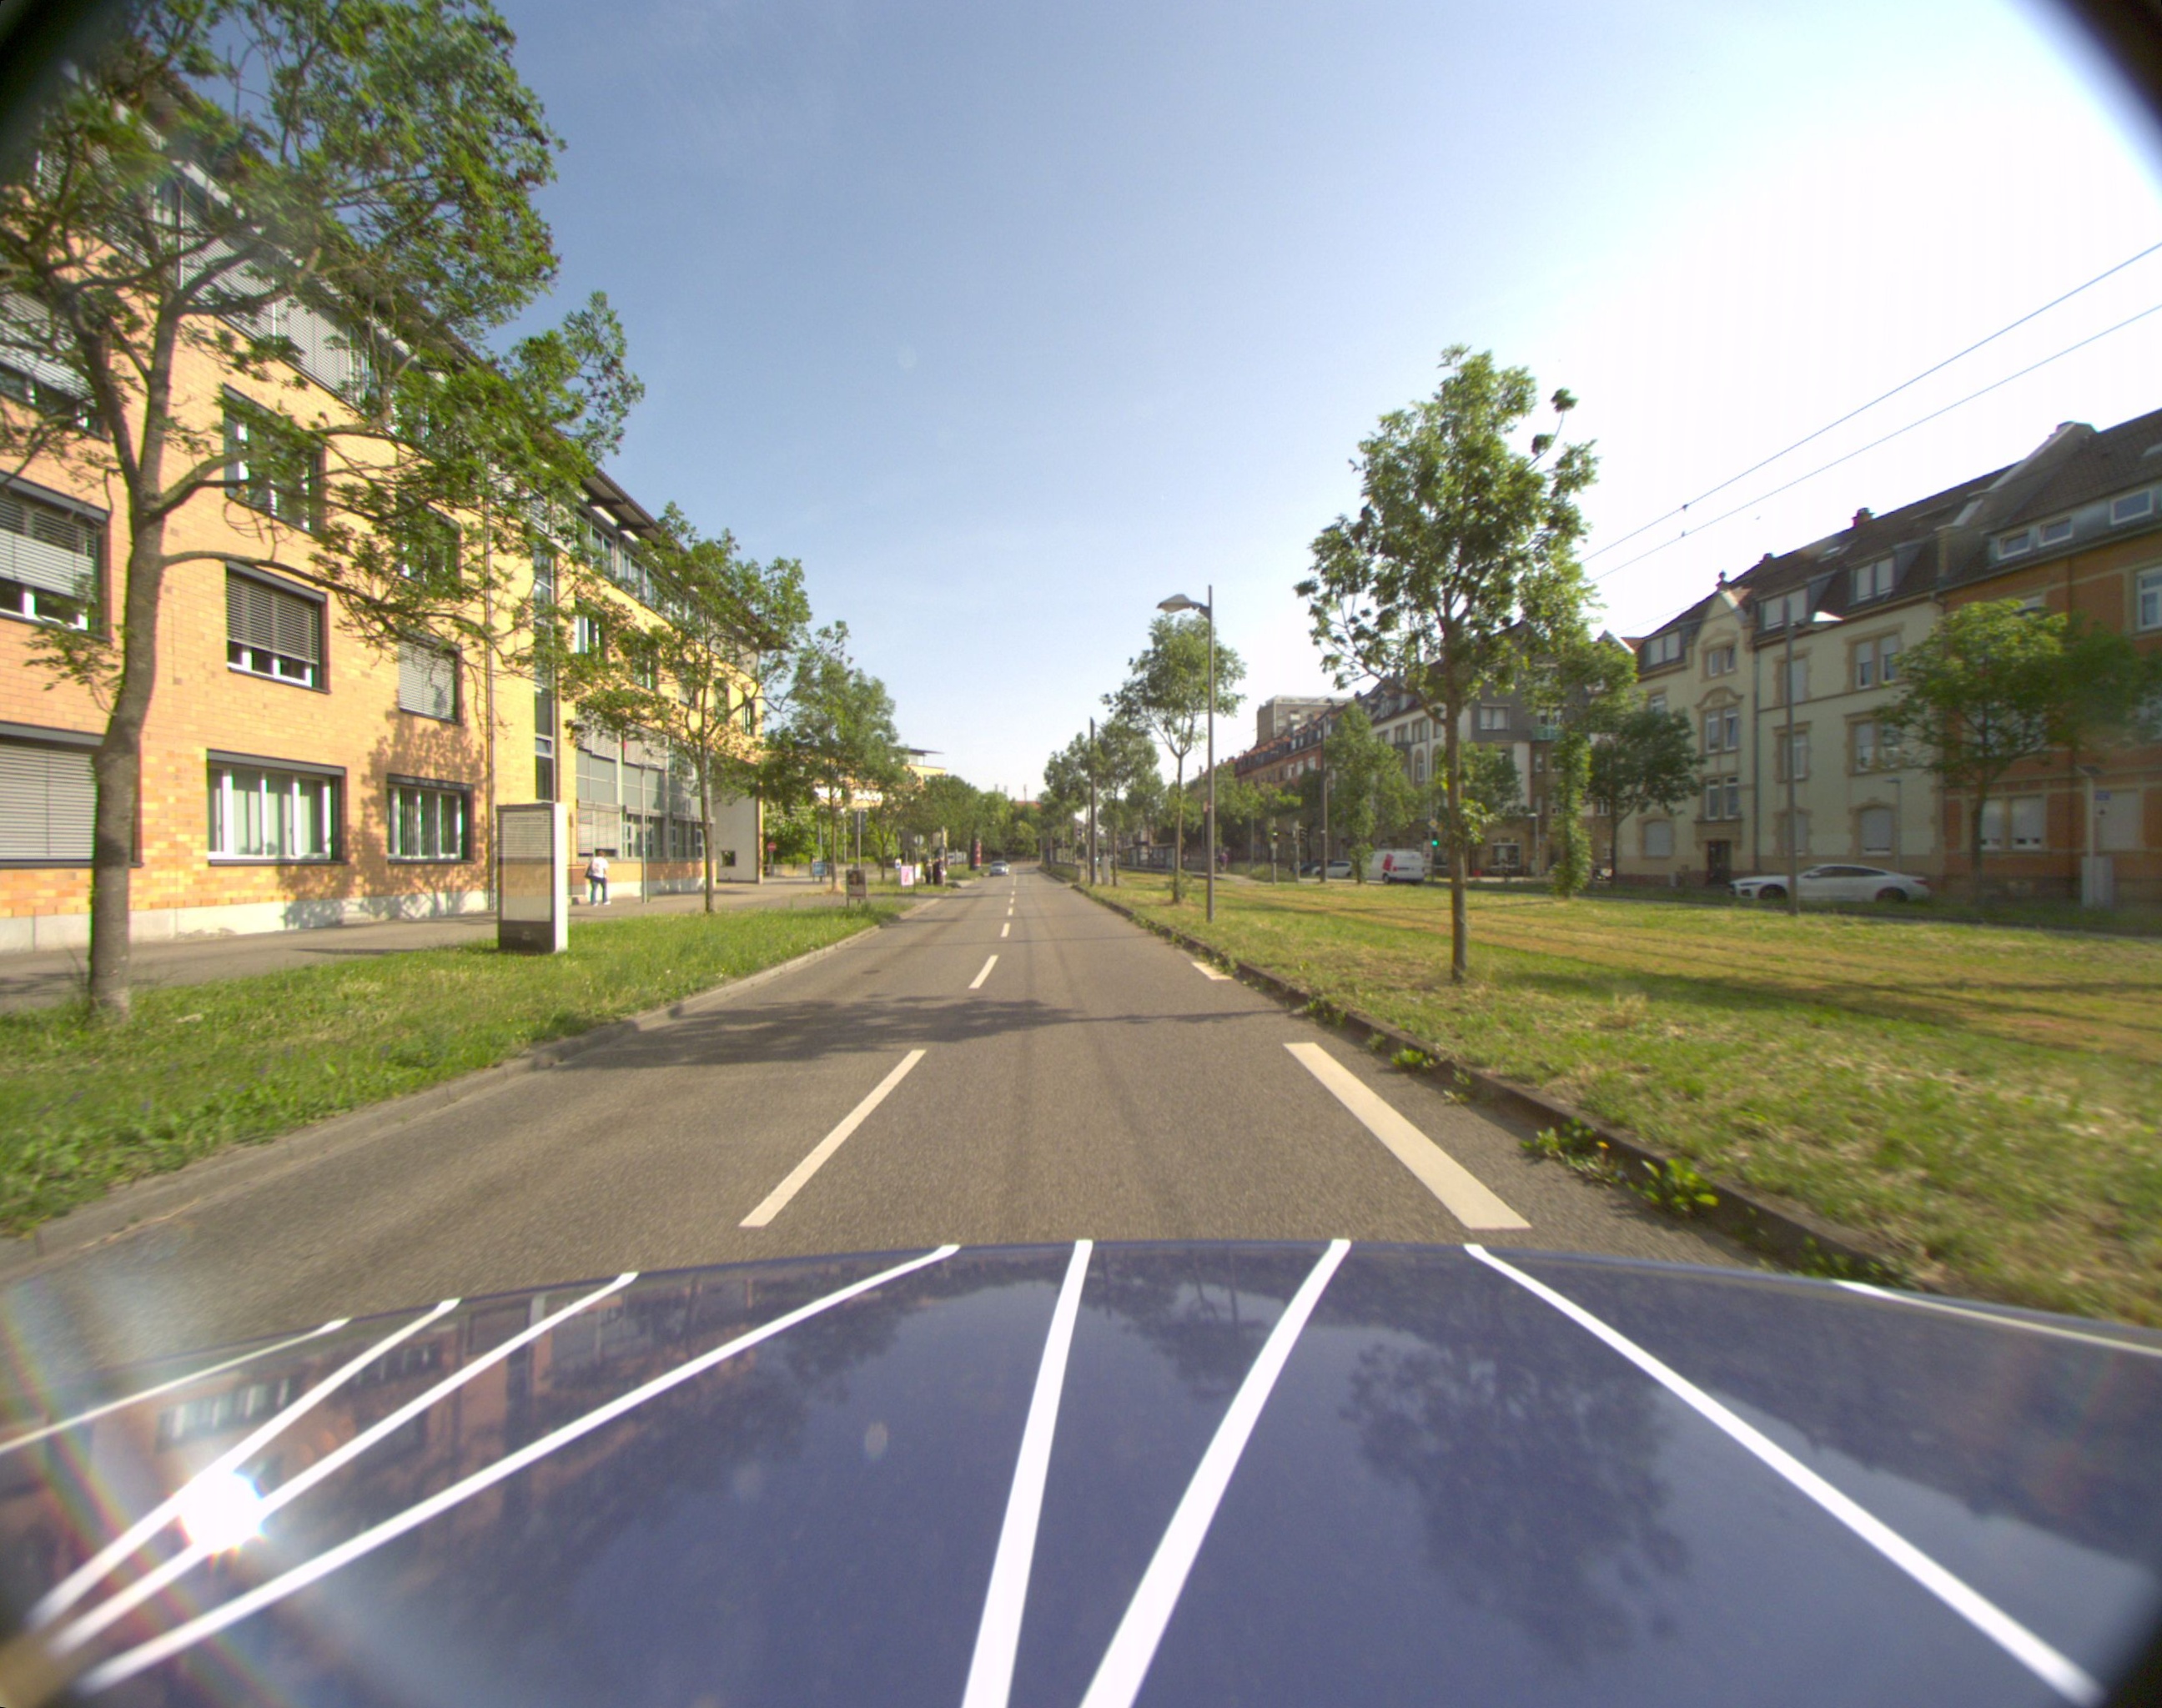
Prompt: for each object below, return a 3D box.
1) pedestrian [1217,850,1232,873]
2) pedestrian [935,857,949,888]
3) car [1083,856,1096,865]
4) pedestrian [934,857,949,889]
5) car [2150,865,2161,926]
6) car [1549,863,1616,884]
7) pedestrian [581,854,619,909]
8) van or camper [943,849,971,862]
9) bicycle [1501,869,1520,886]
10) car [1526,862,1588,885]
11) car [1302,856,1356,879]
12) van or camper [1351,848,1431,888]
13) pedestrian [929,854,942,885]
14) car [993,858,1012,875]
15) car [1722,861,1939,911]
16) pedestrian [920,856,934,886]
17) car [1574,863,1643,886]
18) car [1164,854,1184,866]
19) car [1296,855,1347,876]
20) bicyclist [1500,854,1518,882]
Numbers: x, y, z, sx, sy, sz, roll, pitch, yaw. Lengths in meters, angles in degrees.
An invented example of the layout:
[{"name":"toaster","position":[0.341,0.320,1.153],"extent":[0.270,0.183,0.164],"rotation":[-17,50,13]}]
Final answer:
[{"name":"pedestrian","position":[10.482,0.555,55.487],"extent":[0.886,1.645,0.852],"rotation":[0,1,-8]},{"name":"pedestrian","position":[-7.569,0.997,41.494],"extent":[0.708,1.637,0.688],"rotation":[1,1,-10]},{"name":"car","position":[2.058,1.516,177.408],"extent":[1.996,2.002,4.004],"rotation":[-2,1,14]},{"name":"pedestrian","position":[-7.231,0.994,39.443],"extent":[0.707,1.637,0.689],"rotation":[1,1,-7]},{"name":"car","position":[25.839,0.888,15.266],"extent":[4.688,1.340,1.860],"rotation":[-2,1,30]},{"name":"car","position":[33.725,1.297,51.215],"extent":[1.673,1.291,3.998],"rotation":[1,0,-5]},{"name":"pedestrian","position":[-14.584,0.824,23.059],"extent":[0.698,1.647,0.772],"rotation":[1,1,-4]},{"name":"van or camper","position":[-27.397,0.339,167.922],"extent":[5.803,2.678,2.406],"rotation":[-2,1,-8]},{"name":"bicycle","position":[25.388,1.387,44.913],"extent":[0.856,0.860,2.022],"rotation":[-2,1,27]},{"name":"car","position":[37.060,1.537,59.182],"extent":[3.825,1.574,1.603],"rotation":[-2,1,-4]},{"name":"car","position":[20.807,1.140,63.758],"extent":[3.989,1.716,2.003],"rotation":[-2,1,30]},{"name":"van or camper","position":[17.721,0.739,43.716],"extent":[1.957,2.085,5.350],"rotation":[-2,1,-5]},{"name":"pedestrian","position":[-7.781,0.836,40.586],"extent":[0.636,1.637,0.608],"rotation":[1,1,-8]},{"name":"car","position":[-7.340,1.164,70.993],"extent":[1.629,1.476,3.364],"rotation":[-2,1,-6]},{"name":"car","position":[24.785,1.081,25.409],"extent":[4.766,1.477,2.026],"rotation":[-2,1,27]},{"name":"pedestrian","position":[-8.523,0.942,42.105],"extent":[0.707,1.637,0.689],"rotation":[1,1,-7]},{"name":"car","position":[35.572,1.378,51.384],"extent":[1.673,1.404,3.998],"rotation":[1,0,-5]},{"name":"car","position":[12.482,0.816,102.111],"extent":[1.777,1.432,4.422],"rotation":[1,0,-5]},{"name":"car","position":[21.752,1.067,68.806],"extent":[3.989,1.716,2.003],"rotation":[-2,1,30]},{"name":"bicyclist","position":[25.311,0.825,44.915],"extent":[0.847,1.550,0.904],"rotation":[-2,1,27]}]
